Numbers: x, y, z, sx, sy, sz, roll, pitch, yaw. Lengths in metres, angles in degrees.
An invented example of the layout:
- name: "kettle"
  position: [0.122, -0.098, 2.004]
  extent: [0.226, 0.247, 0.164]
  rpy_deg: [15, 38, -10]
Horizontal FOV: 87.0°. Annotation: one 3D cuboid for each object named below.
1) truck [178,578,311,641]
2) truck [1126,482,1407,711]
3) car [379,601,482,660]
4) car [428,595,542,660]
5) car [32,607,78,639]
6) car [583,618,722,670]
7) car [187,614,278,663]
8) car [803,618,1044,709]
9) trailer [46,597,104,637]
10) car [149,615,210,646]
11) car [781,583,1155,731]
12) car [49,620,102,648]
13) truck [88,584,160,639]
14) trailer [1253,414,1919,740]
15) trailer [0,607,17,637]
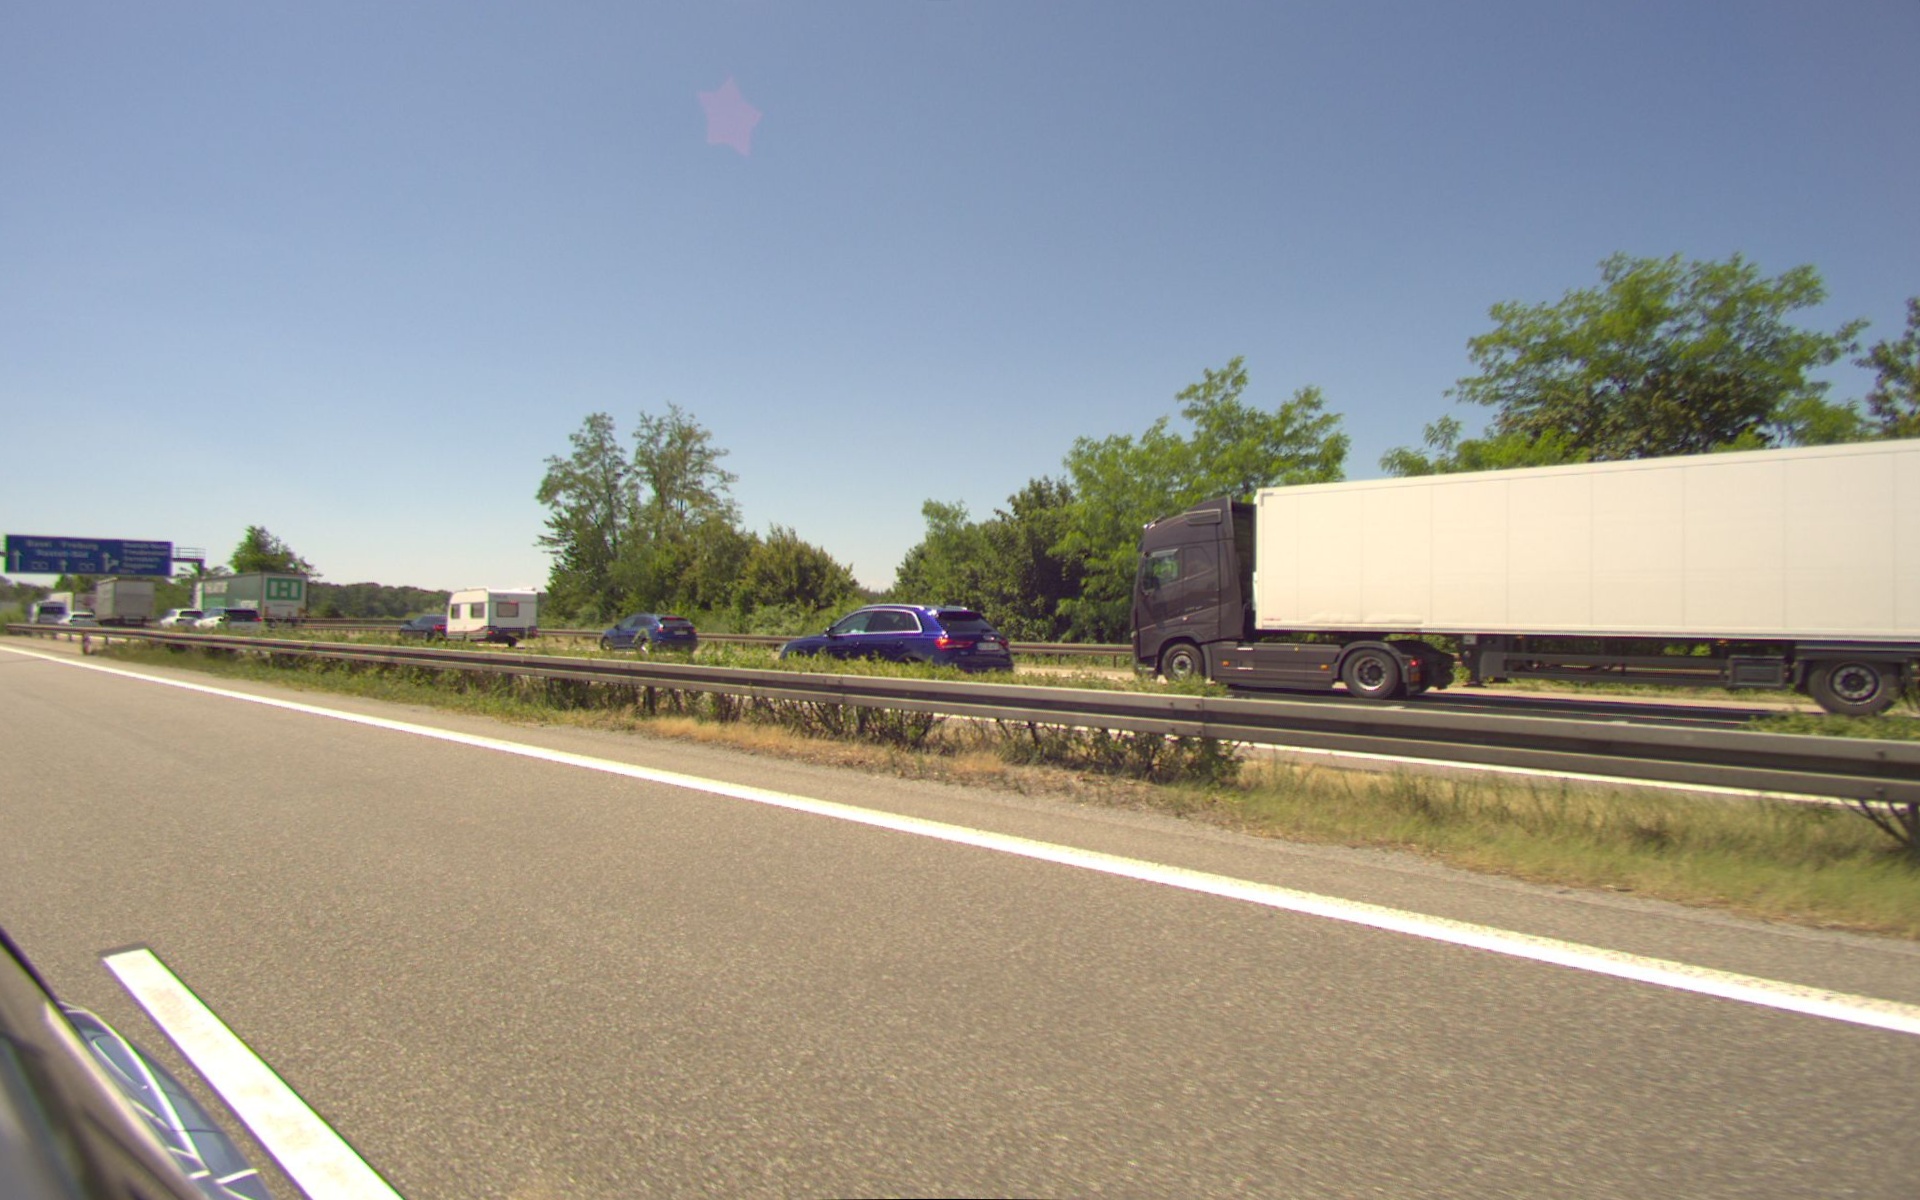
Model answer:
- name: "truck"
  position: [-48.510, 0.682, 68.187]
  extent: [17.000, 3.831, 3.211]
  rpy_deg: [-1, 0, 41]
- name: "truck"
  position: [6.198, -0.037, 20.778]
  extent: [4.917, 4.142, 2.398]
  rpy_deg: [-1, 0, 41]
- name: "car"
  position: [-25.272, 1.461, 48.218]
  extent: [5.713, 2.635, 2.393]
  rpy_deg: [-1, -3, 41]
- name: "car"
  position: [-20.792, 1.201, 44.186]
  extent: [5.713, 2.635, 2.393]
  rpy_deg: [-1, -3, 41]
- name: "car"
  position: [-76.781, 1.993, 85.837]
  extent: [6.035, 2.604, 2.147]
  rpy_deg: [-2, -2, 41]
- name: "car"
  position: [-10.636, 1.489, 34.868]
  extent: [4.748, 1.649, 2.457]
  rpy_deg: [-1, -3, 41]
- name: "car"
  position: [-32.247, 1.661, 44.812]
  extent: [4.555, 2.029, 2.274]
  rpy_deg: [-1, 0, 41]
- name: "car"
  position: [-0.858, 1.259, 21.547]
  extent: [4.817, 1.652, 2.362]
  rpy_deg: [-1, 0, 41]
- name: "trailer"
  position: [-98.706, 1.954, 112.786]
  extent: [13.937, 4.238, 2.716]
  rpy_deg: [-1, 0, 40]
- name: "car"
  position: [-48.761, 1.925, 63.183]
  extent: [5.105, 1.845, 2.053]
  rpy_deg: [-1, -3, 41]
- name: "car"
  position: [-0.054, 0.778, 16.100]
  extent: [5.736, 1.946, 2.457]
  rpy_deg: [-1, 0, 41]
- name: "car"
  position: [-60.470, 2.325, 69.150]
  extent: [5.105, 1.805, 2.053]
  rpy_deg: [-1, -3, 41]
- name: "truck"
  position: [-63.663, 0.800, 76.970]
  extent: [9.492, 3.948, 2.826]
  rpy_deg: [0, 1, 42]
- name: "trailer"
  position: [11.912, -0.280, 15.768]
  extent: [14.425, 4.322, 2.398]
  rpy_deg: [-1, 0, 41]
- name: "trailer"
  position: [-145.786, 3.312, 153.307]
  extent: [13.940, 4.339, 2.715]
  rpy_deg: [-1, 0, 41]
